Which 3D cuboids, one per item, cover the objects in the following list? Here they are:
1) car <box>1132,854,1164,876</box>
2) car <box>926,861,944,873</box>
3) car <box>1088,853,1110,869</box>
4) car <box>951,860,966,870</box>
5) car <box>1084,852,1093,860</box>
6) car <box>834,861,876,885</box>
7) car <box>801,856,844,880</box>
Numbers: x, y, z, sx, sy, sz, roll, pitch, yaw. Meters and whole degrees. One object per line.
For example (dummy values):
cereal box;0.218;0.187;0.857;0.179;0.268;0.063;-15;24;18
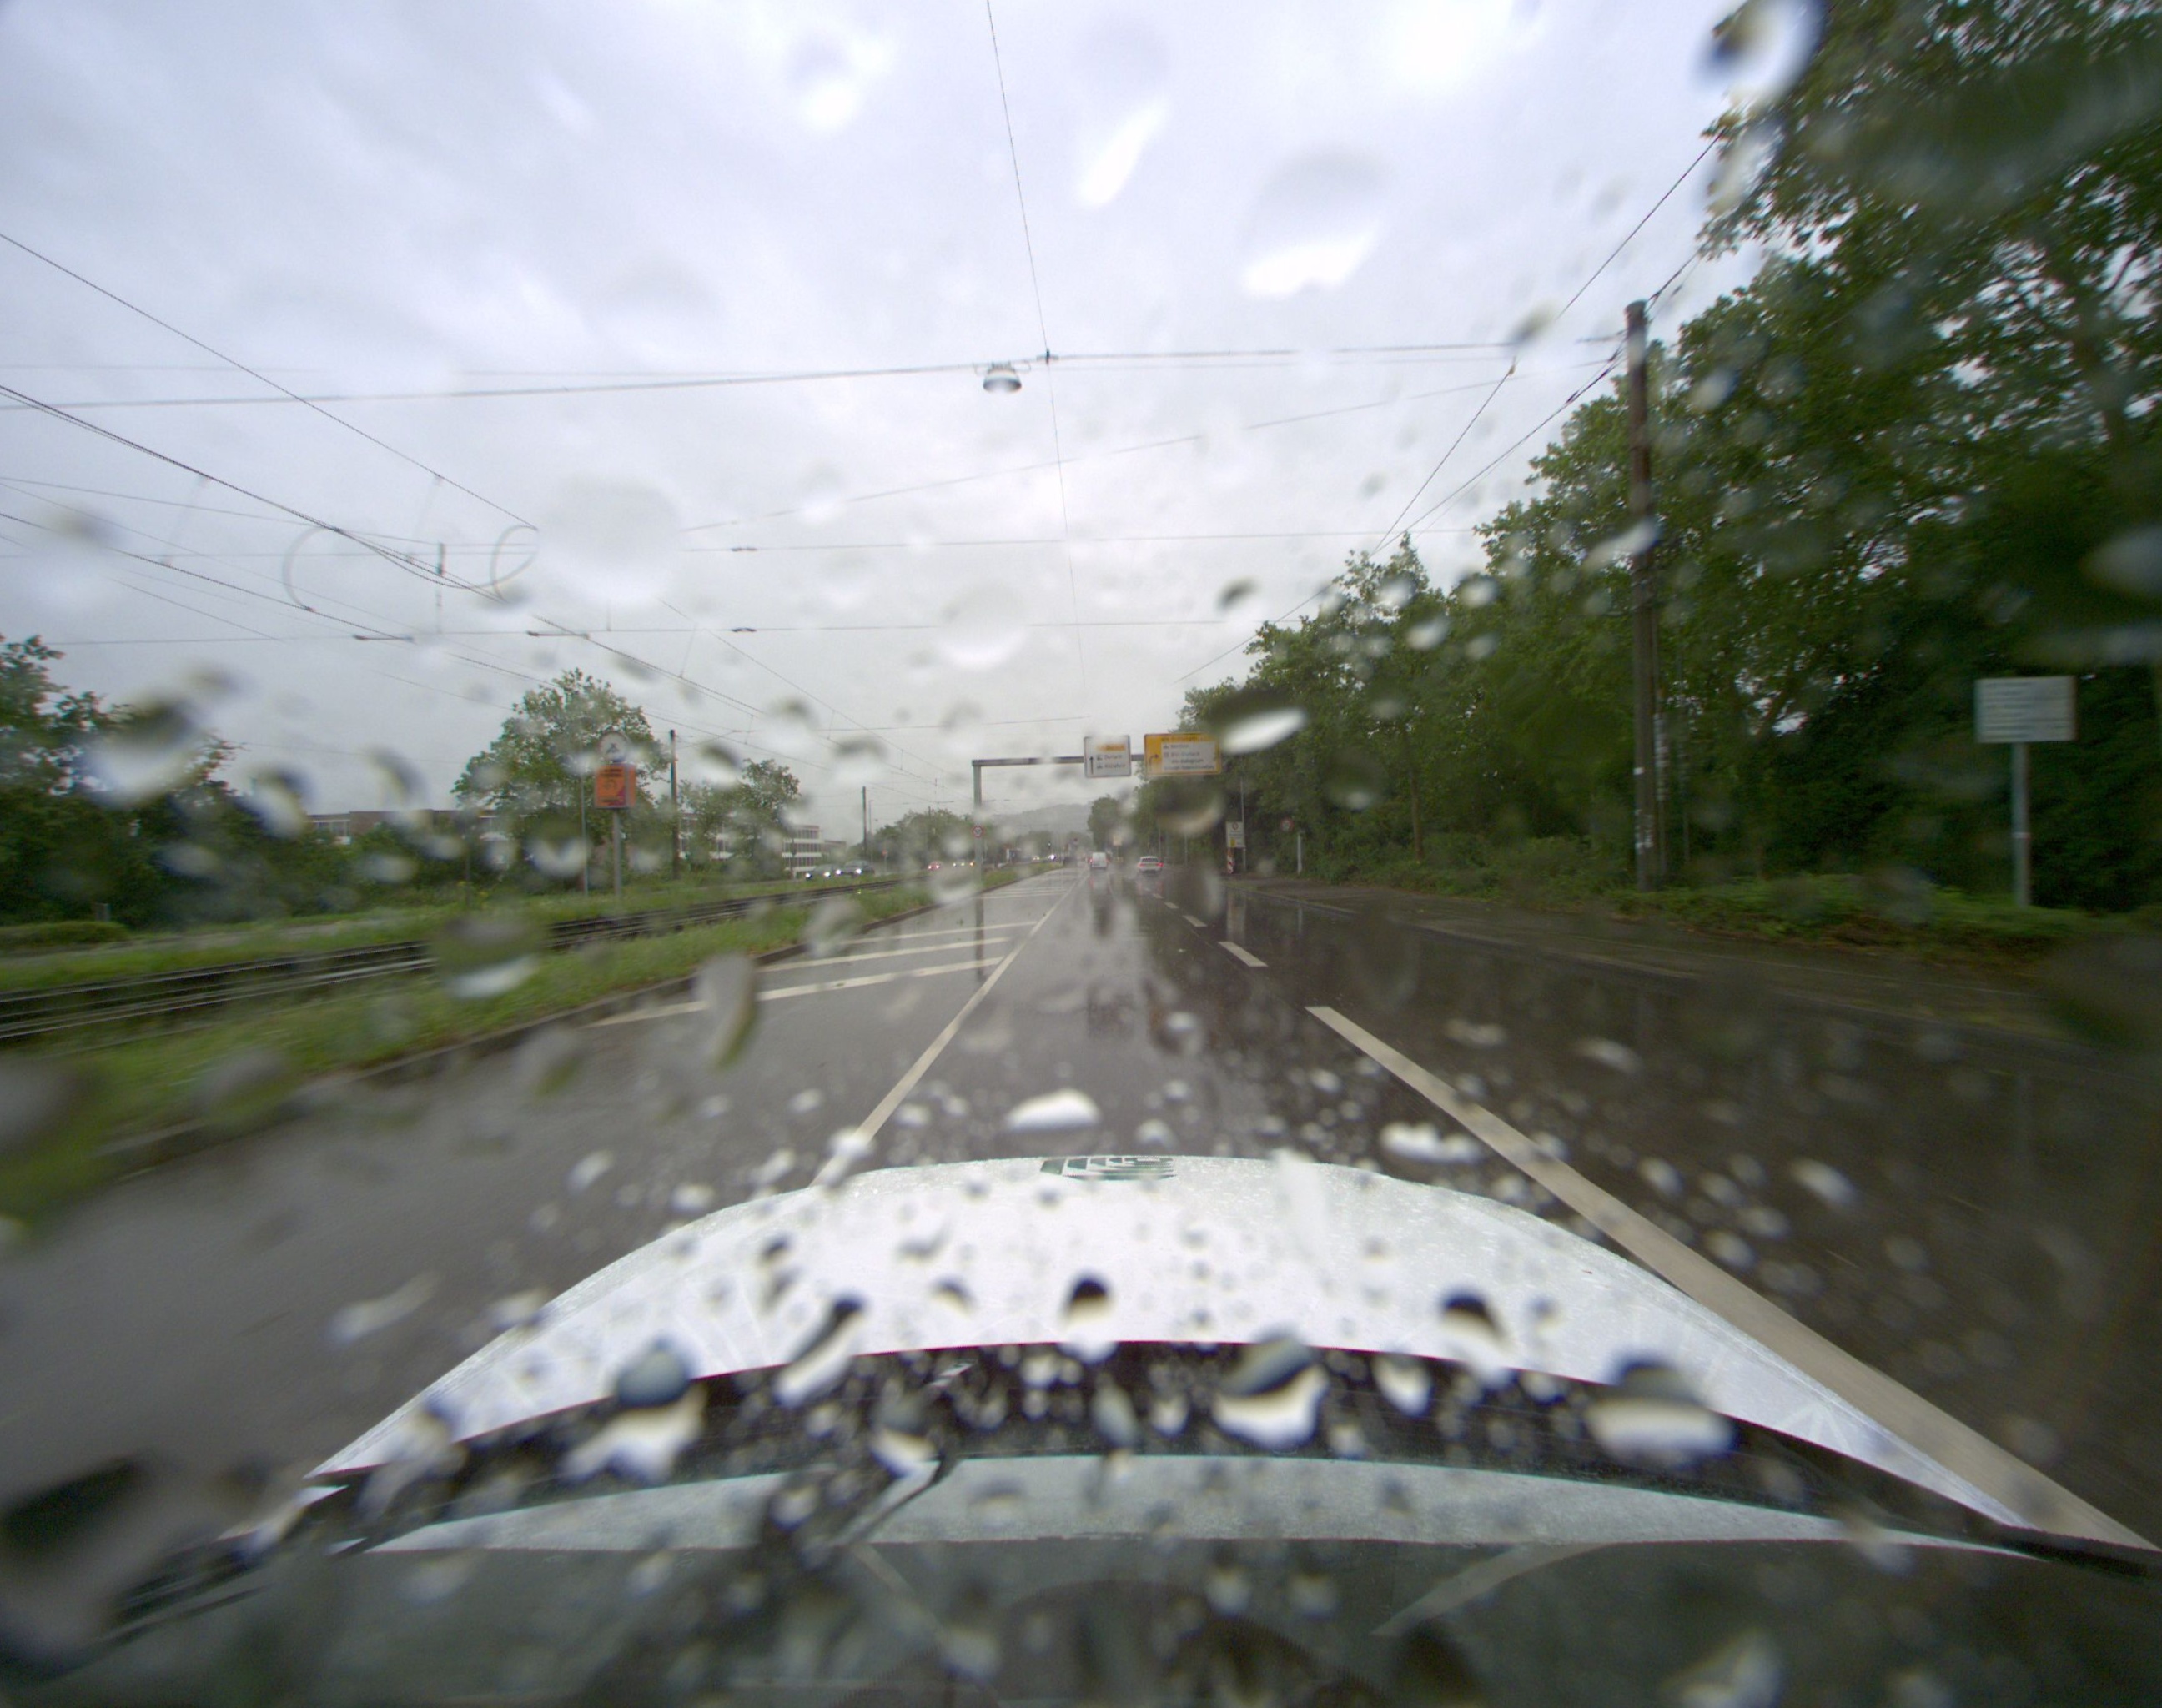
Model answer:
car;4.856;0.775;59.313;1.942;1.536;4.466;-1;0;0
car;-19.615;1.690;109.686;1.715;1.494;4.000;-1;0;0
car;1.753;0.682;78.602;2.070;1.420;4.001;-1;0;1
car;-19.581;1.781;130.328;1.715;1.494;4.000;-1;0;0
car;1.682;0.401;176.594;1.987;1.547;4.000;0;0;0
car;-16.845;1.381;60.965;1.938;1.616;4.984;-2;0;-2
car;-20.113;1.057;63.476;1.938;1.686;4.776;-2;0;-2
